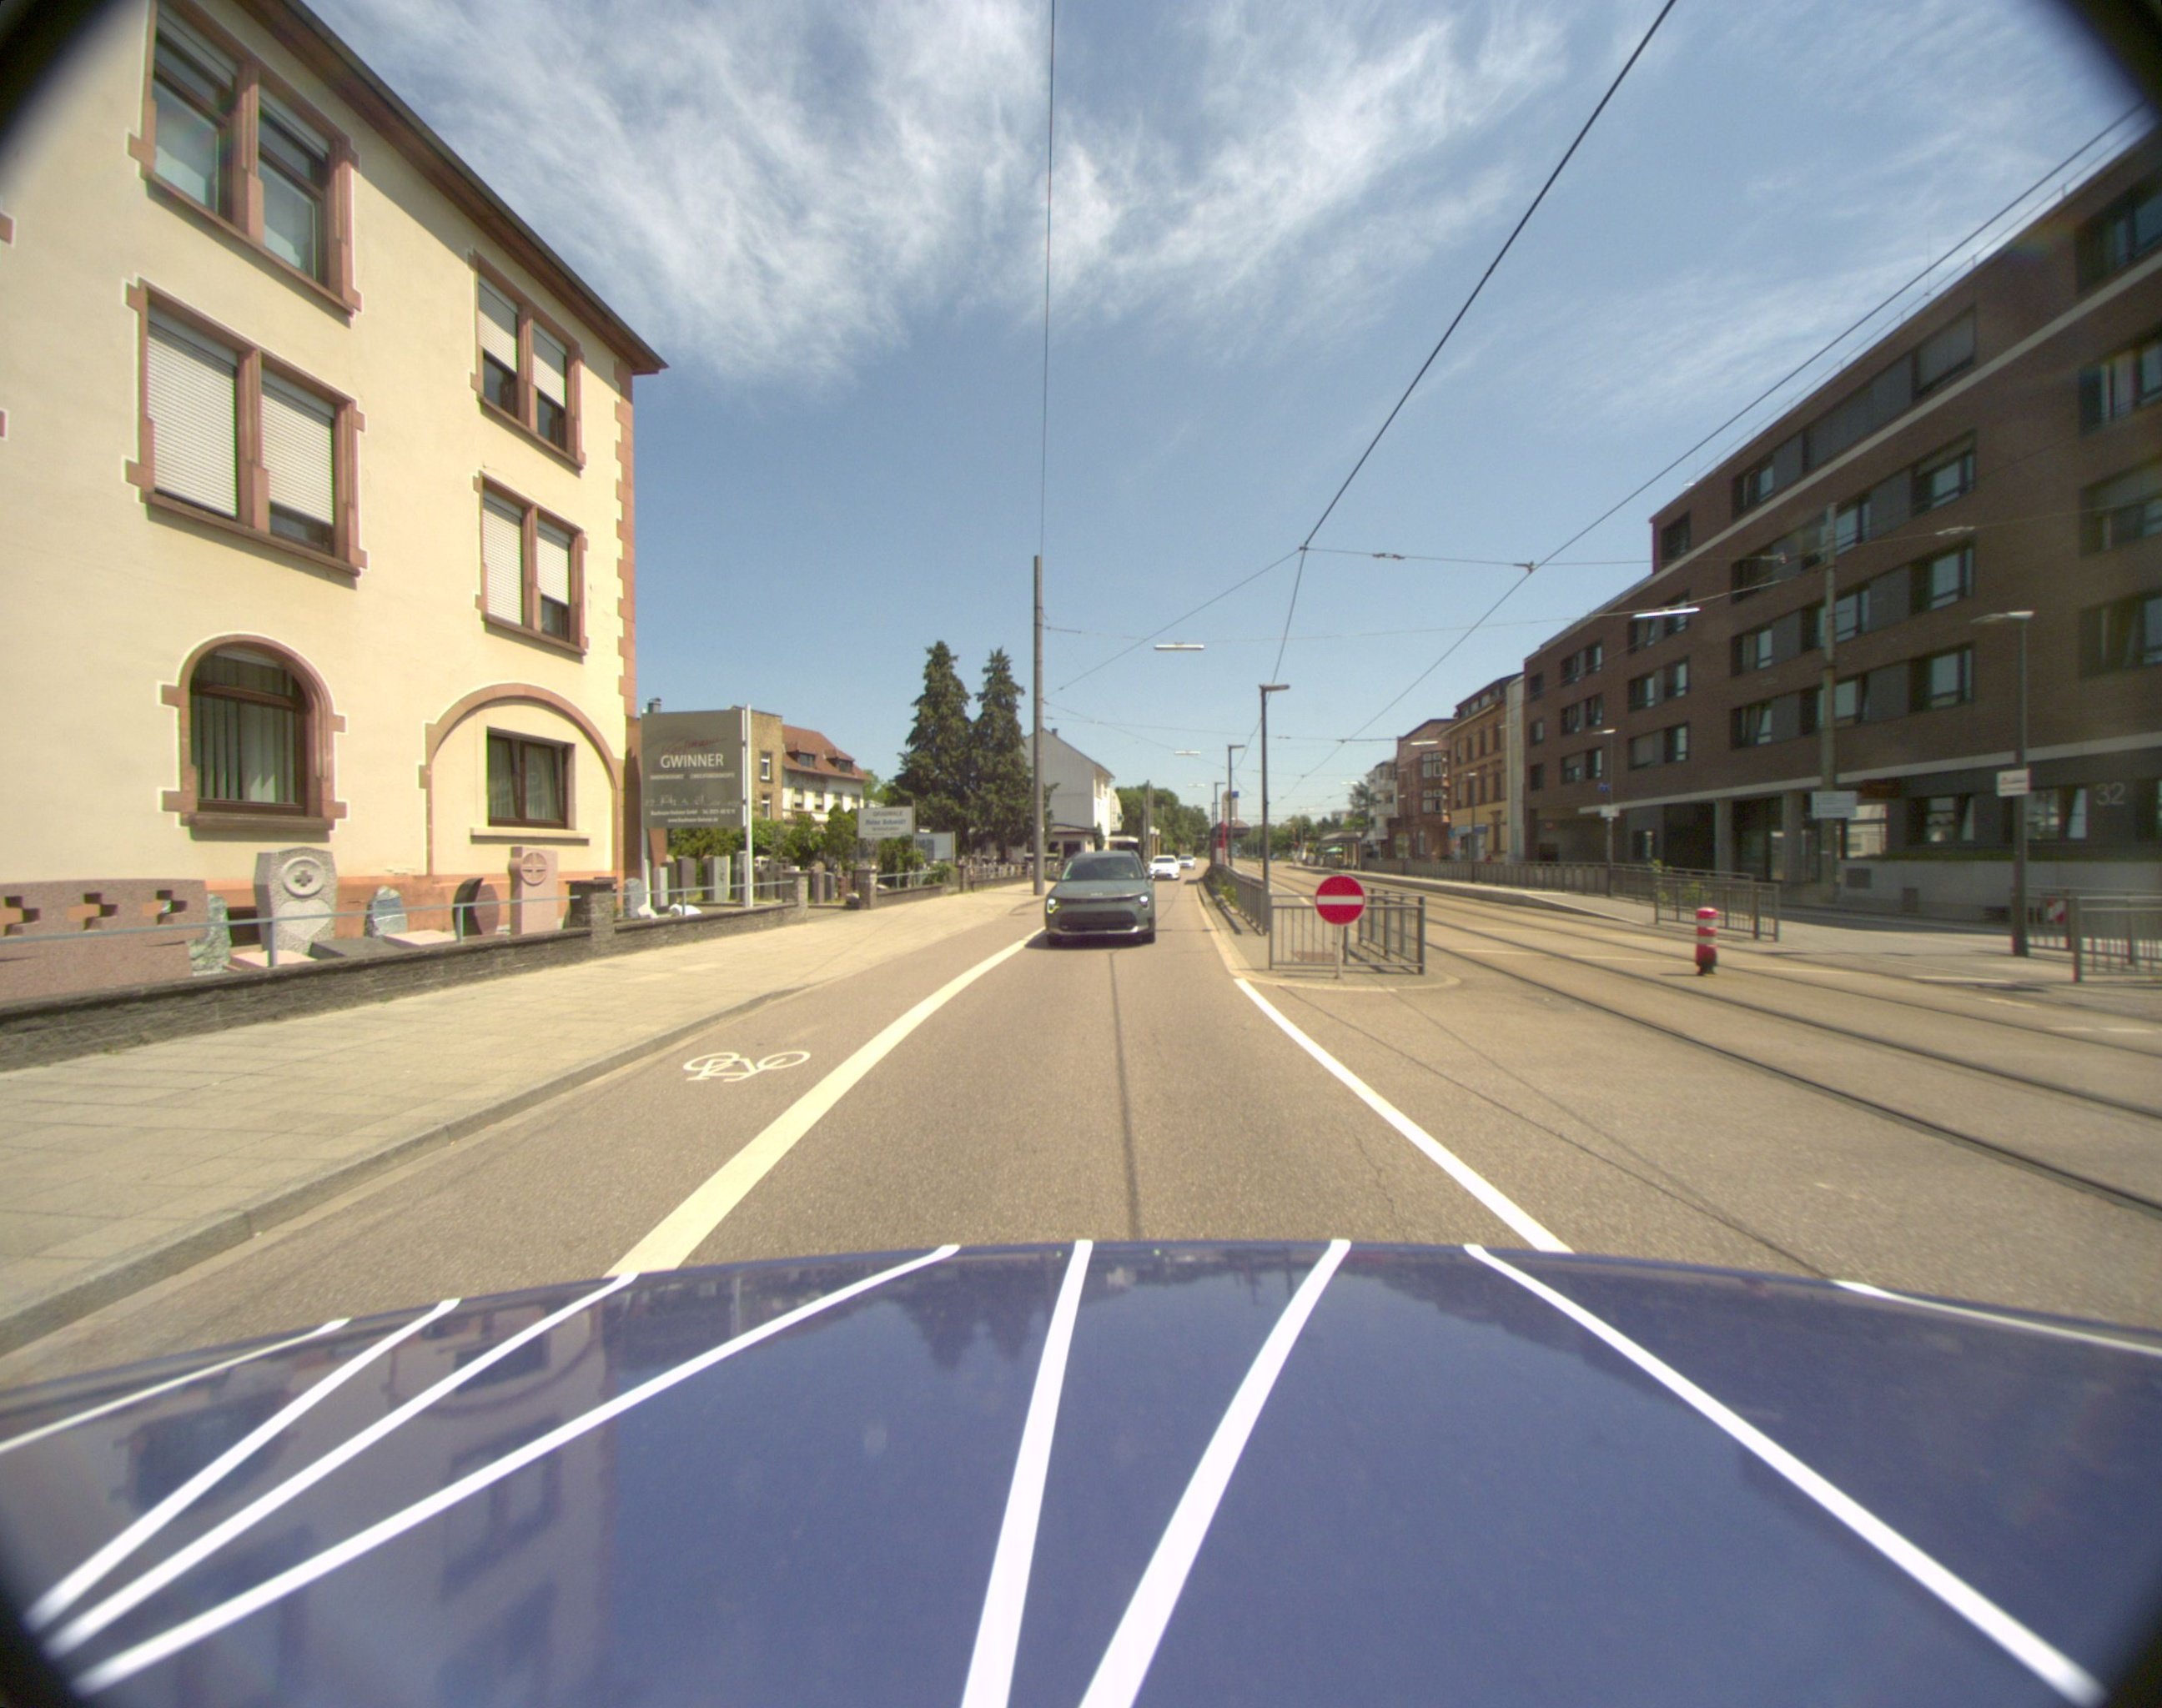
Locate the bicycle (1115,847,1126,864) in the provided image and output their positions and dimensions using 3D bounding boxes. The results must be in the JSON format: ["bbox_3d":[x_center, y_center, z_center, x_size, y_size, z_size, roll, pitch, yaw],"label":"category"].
[{"bbox_3d":[4.418,0.163,84.931,0.799,1.889,1.961,2,0,17],"label":"bicycle"}]

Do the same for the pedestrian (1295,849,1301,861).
[{"bbox_3d":[28.150,0.137,98.536,0.597,1.615,0.677,1,1,10],"label":"pedestrian"}]

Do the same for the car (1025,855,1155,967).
[{"bbox_3d":[0.340,0.829,13.062,1.826,1.546,4.489,-1,0,6],"label":"car"}]

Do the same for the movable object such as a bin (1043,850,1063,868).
[{"bbox_3d":[-2.331,0.431,62.658,1.389,1.472,1.152,0,0,11],"label":"movable object such as a bin"}]

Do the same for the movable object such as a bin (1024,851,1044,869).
[{"bbox_3d":[-3.906,0.478,63.137,1.389,1.472,1.152,0,0,14],"label":"movable object such as a bin"}]

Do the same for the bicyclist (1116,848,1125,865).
[{"bbox_3d":[4.391,0.250,84.825,0.790,1.864,0.888,2,1,17],"label":"bicyclist"}]

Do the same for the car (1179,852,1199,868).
[{"bbox_3d":[11.289,0.632,79.315,1.748,1.546,4.489,-2,0,5],"label":"car"}]

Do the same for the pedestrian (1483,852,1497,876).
[{"bbox_3d":[27.271,0.685,50.653,0.604,1.586,0.715,0,1,8],"label":"pedestrian"}]

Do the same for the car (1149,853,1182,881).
[{"bbox_3d":[5.047,0.718,45.127,1.747,1.546,4.490,-2,0,8],"label":"car"}]
